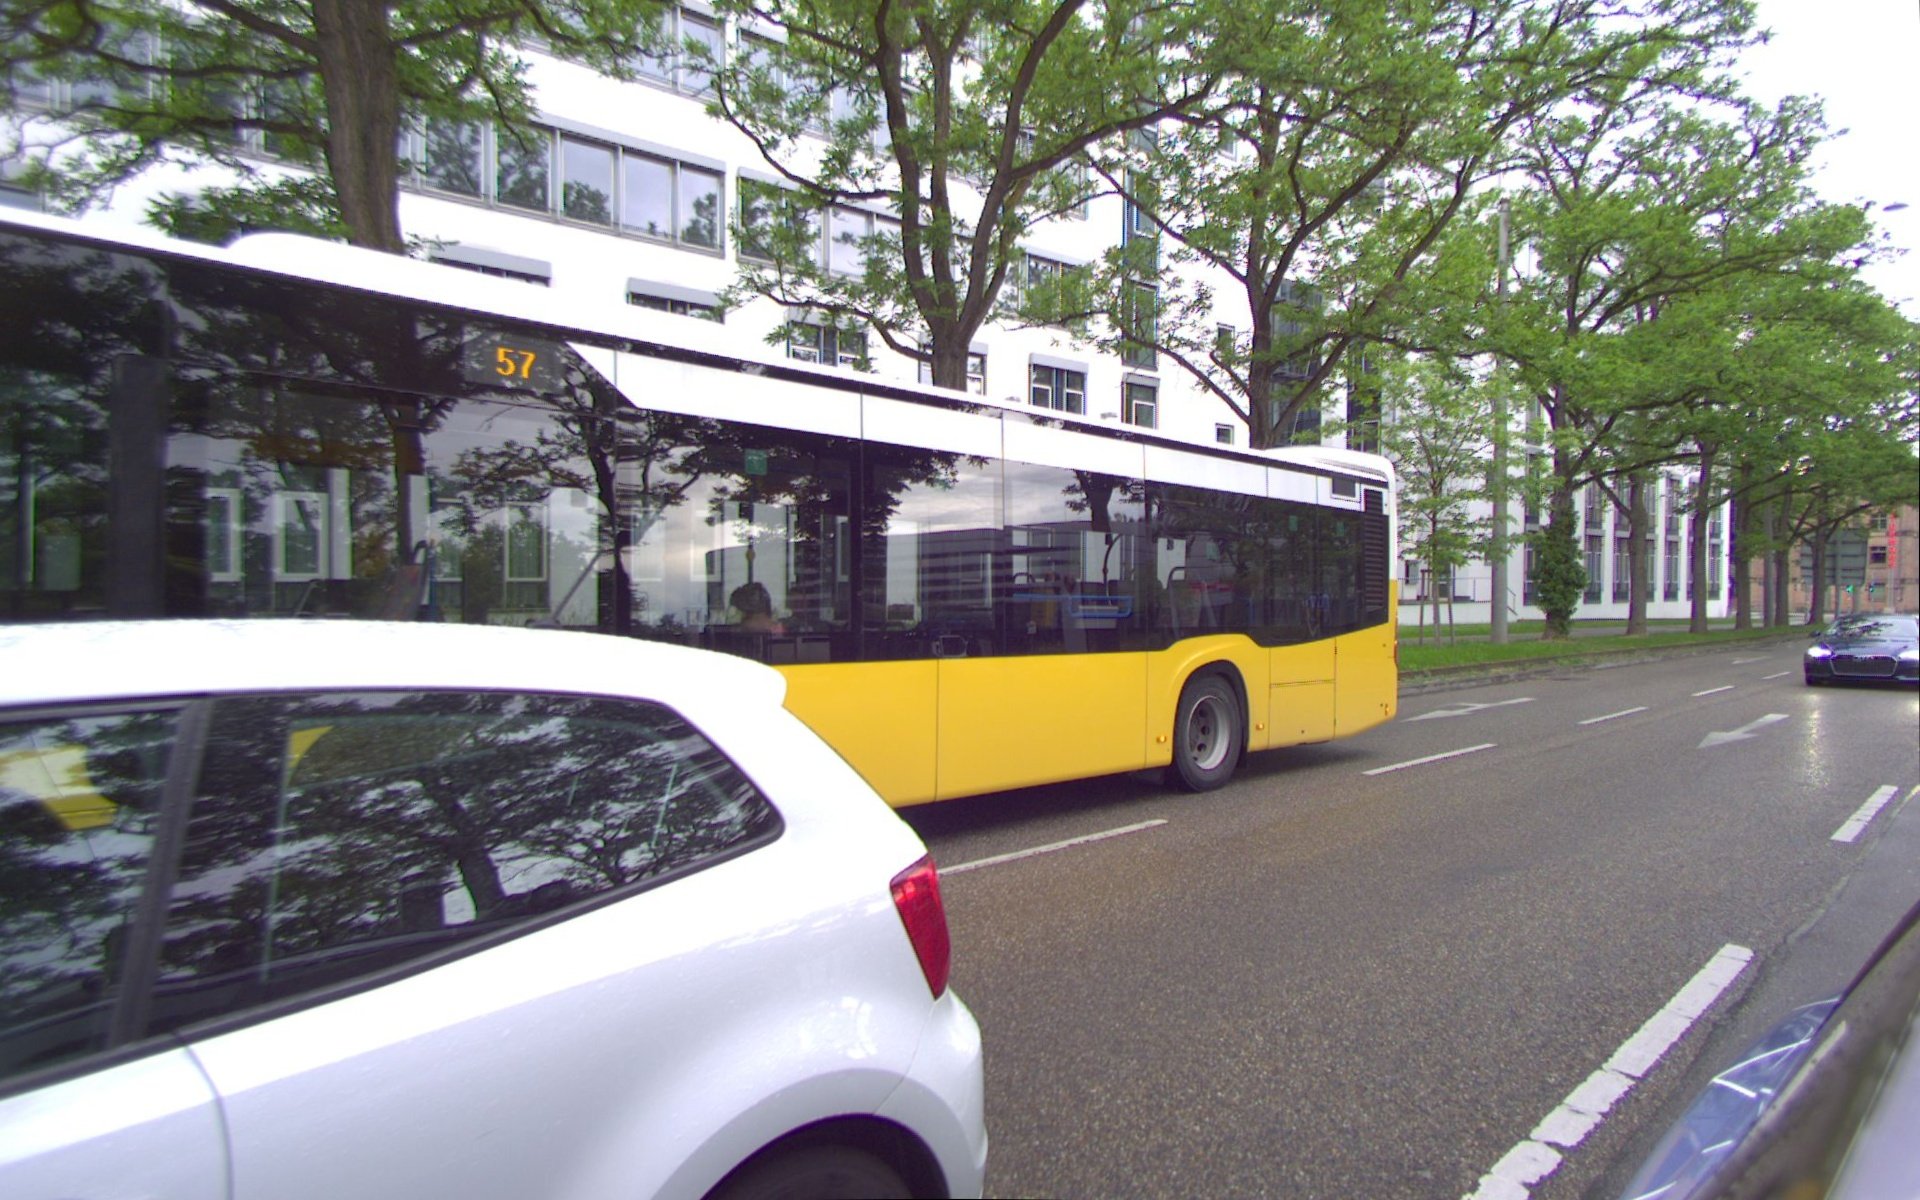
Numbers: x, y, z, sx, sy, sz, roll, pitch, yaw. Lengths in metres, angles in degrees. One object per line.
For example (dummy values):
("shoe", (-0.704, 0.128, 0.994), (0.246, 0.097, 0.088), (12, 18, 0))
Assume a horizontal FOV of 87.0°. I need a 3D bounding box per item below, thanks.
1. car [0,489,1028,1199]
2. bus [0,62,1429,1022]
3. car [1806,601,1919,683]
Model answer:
("car", (-1.855, 0.635, 1.347), (3.745, 1.450, 1.743), (-1, 0, -41))
("bus", (-0.627, -0.171, 7.419), (11.933, 3.192, 2.731), (0, -1, -41))
("car", (17.969, 0.747, 19.519), (4.257, 1.371, 1.876), (-1, 0, -41))
